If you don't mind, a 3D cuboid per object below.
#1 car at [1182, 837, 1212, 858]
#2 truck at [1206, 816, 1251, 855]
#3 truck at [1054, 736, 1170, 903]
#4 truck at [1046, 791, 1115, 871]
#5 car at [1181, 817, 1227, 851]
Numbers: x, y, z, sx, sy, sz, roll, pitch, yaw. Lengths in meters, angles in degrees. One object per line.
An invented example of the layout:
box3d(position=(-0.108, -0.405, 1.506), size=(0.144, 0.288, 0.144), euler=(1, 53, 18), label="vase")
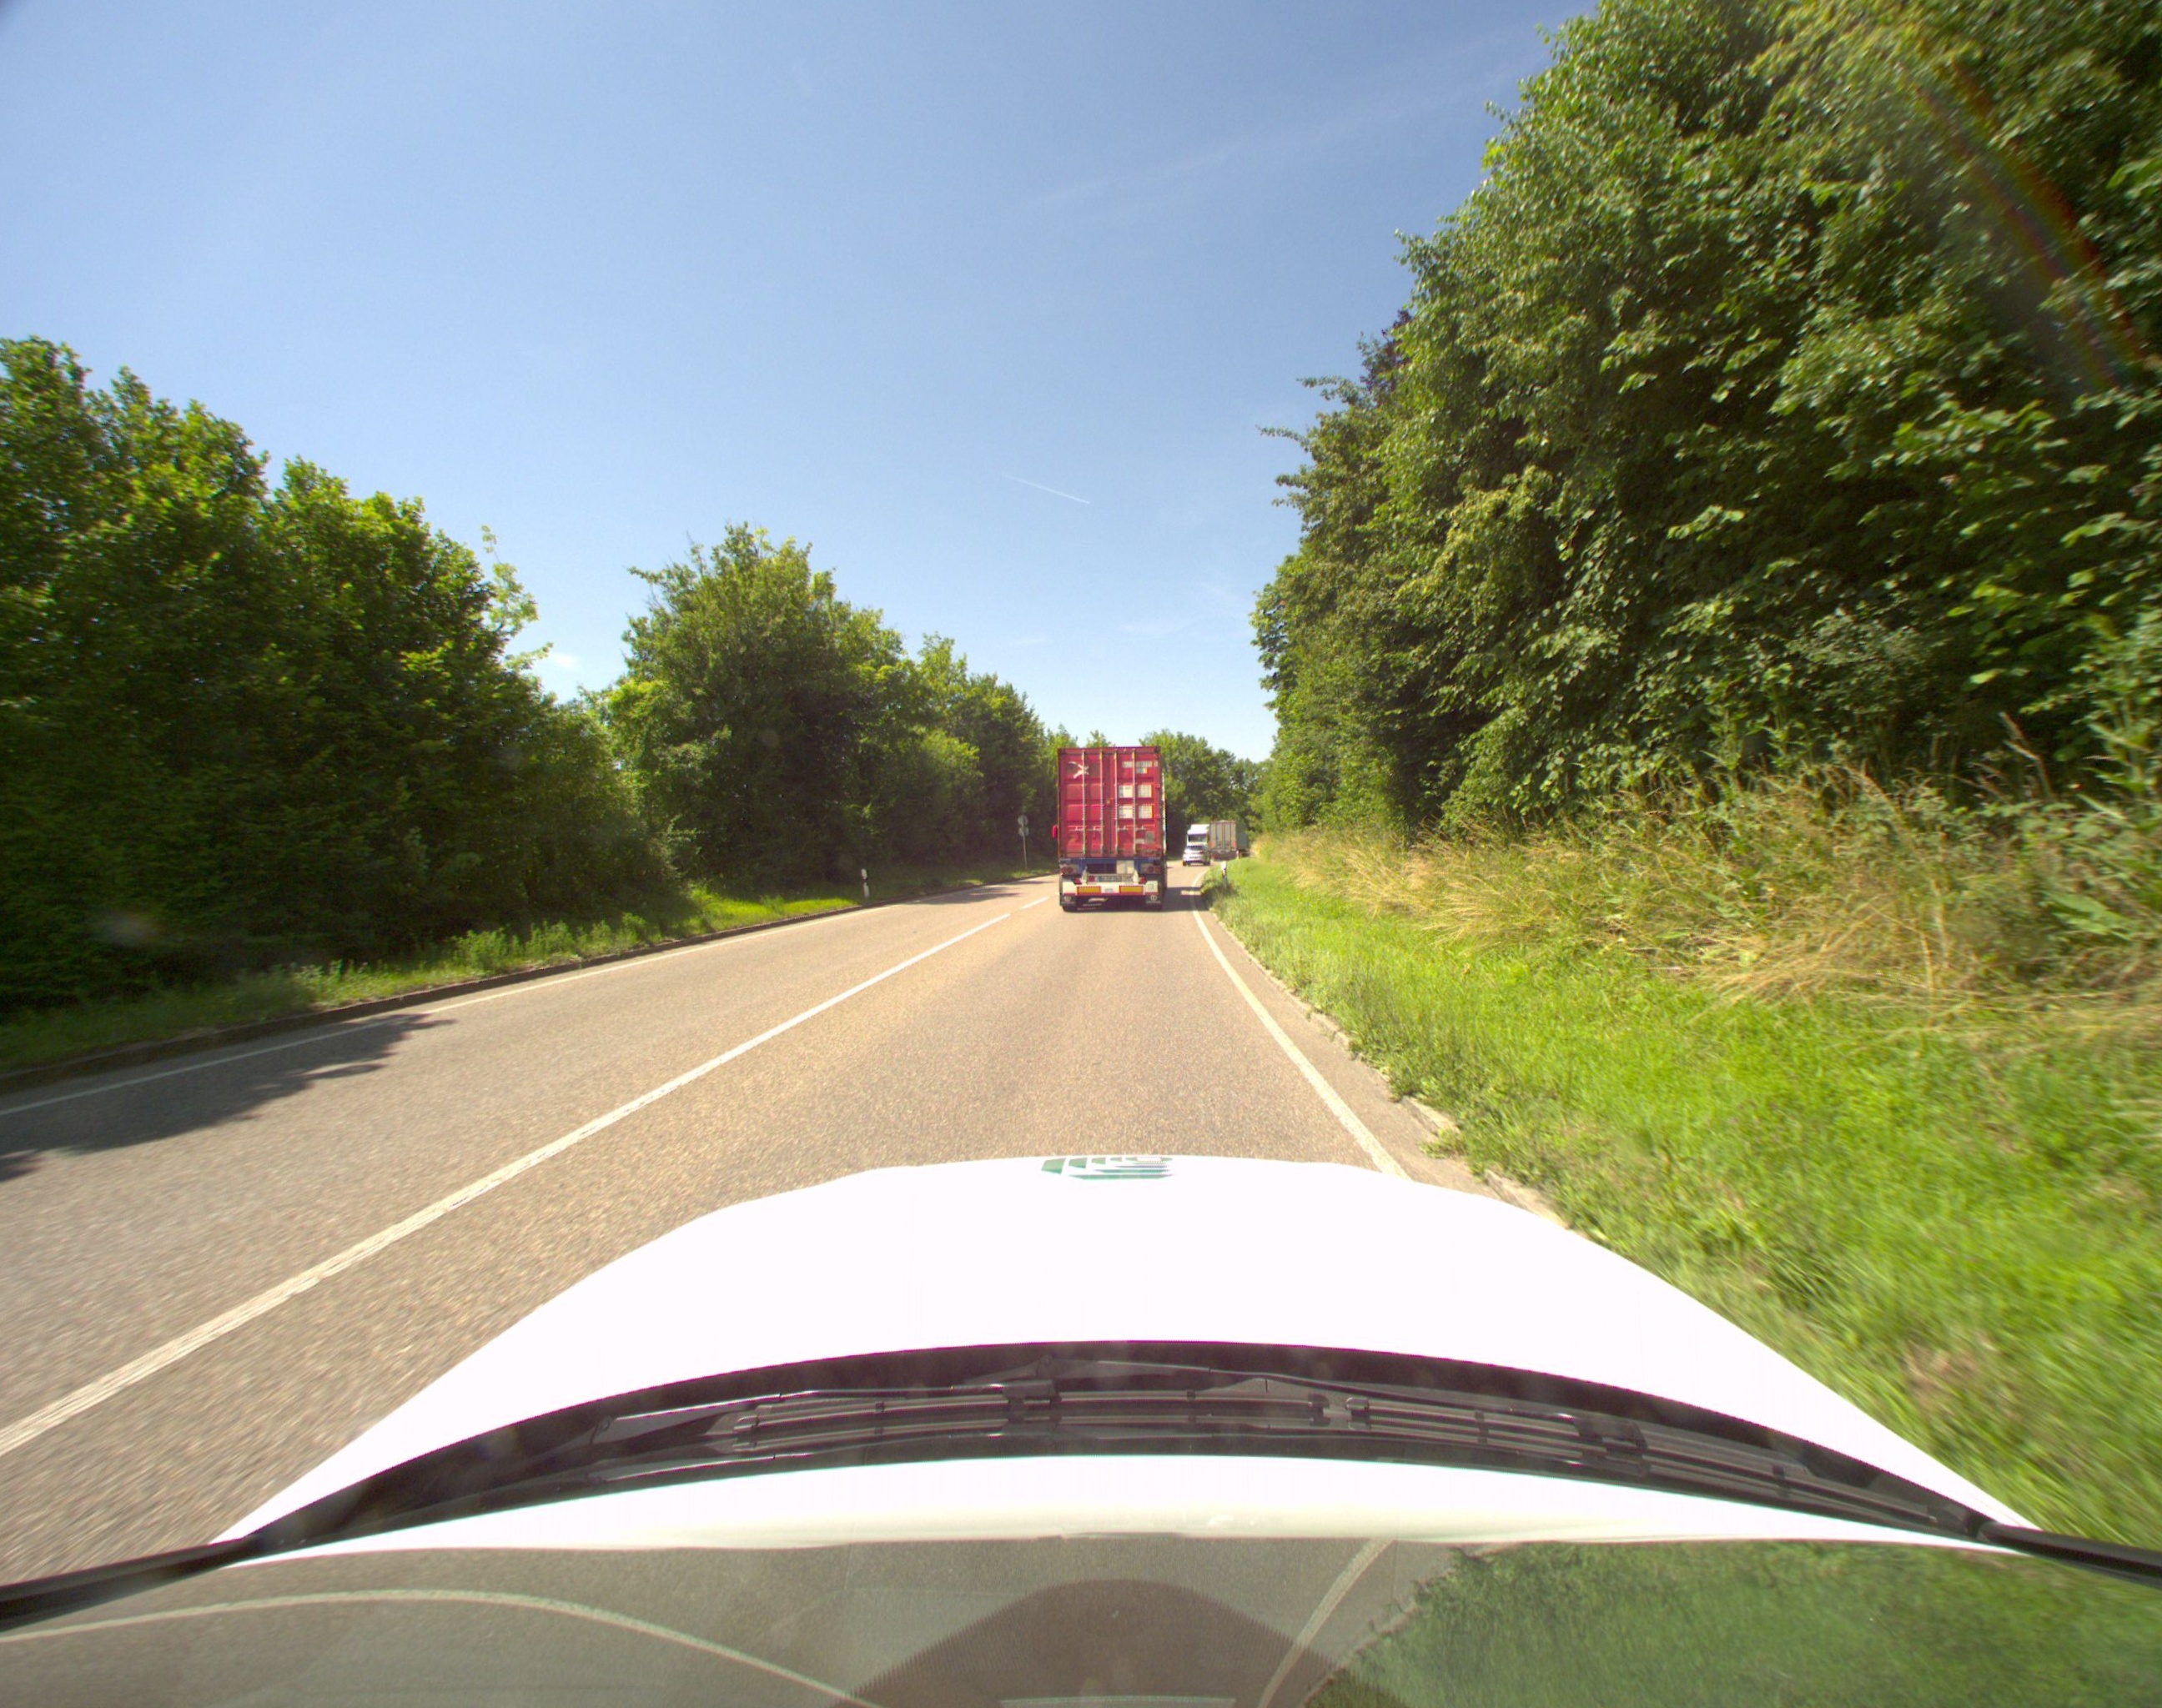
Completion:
box3d(position=(9.023, -0.505, 63.063), size=(1.819, 1.433, 4.016), euler=(-3, 0, 14), label="car")
box3d(position=(15.493, -1.912, 84.670), size=(2.899, 3.716, 13.420), euler=(-1, 1, 17), label="truck")
box3d(position=(1.380, -0.842, 25.524), size=(2.634, 3.806, 13.381), euler=(-1, 0, 6), label="truck")
box3d(position=(0.079, -1.240, 46.225), size=(2.904, 4.182, 5.934), euler=(-1, 0, 9), label="truck")
box3d(position=(15.187, -2.431, 99.724), size=(3.238, 3.873, 12.809), euler=(-2, 1, 19), label="car")
